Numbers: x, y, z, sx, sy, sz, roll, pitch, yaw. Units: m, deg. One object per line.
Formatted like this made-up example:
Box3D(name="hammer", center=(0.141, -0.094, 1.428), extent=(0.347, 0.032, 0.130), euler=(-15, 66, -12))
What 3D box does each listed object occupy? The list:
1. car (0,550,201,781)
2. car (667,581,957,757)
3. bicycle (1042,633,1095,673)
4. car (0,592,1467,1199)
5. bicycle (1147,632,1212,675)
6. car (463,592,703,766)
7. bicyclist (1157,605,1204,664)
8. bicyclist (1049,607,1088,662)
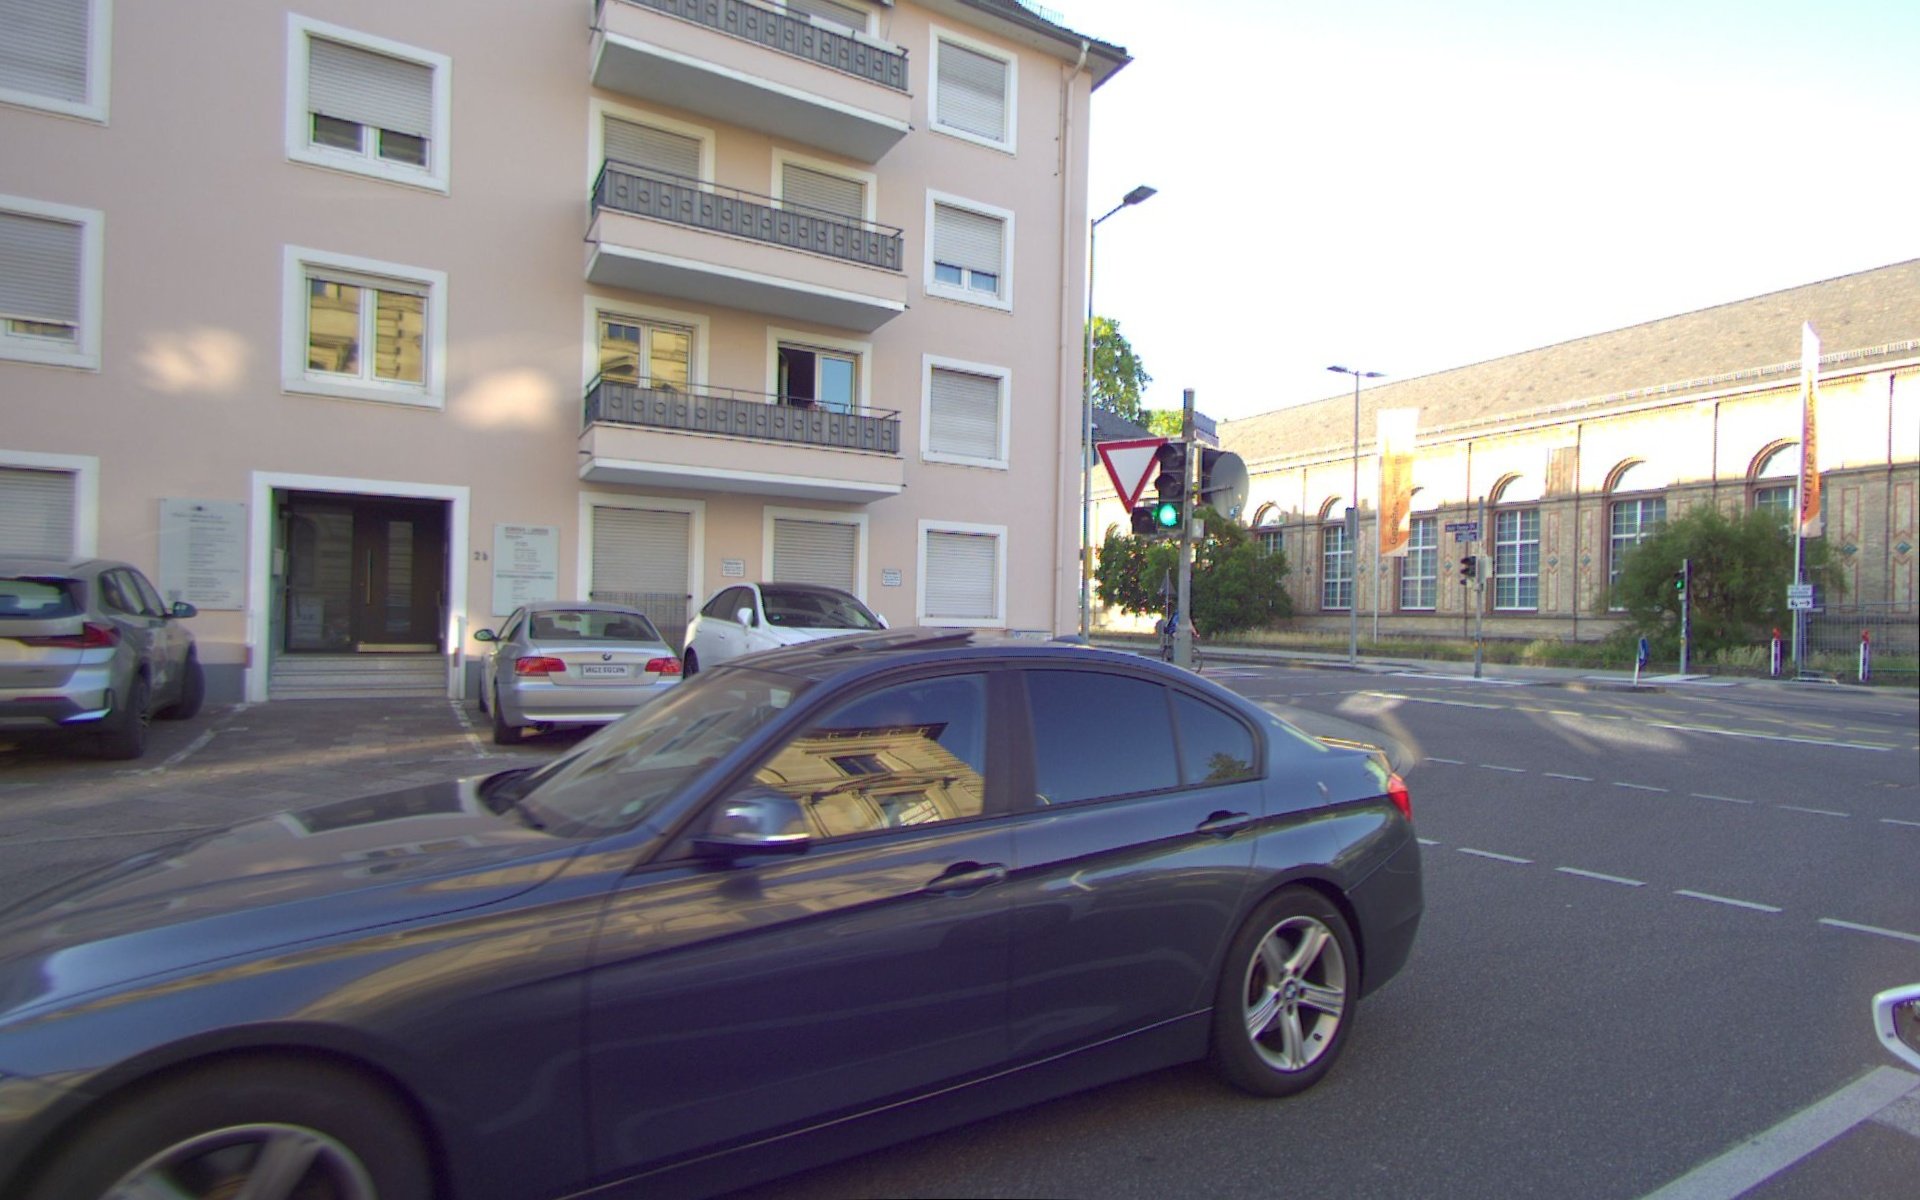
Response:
Box3D(name="car", center=(-8.144, 0.391, 8.783), extent=(1.894, 1.626, 4.395), euler=(1, 1, -31))
Box3D(name="car", center=(-1.999, 0.657, 12.163), extent=(1.920, 1.663, 4.417), euler=(1, 1, -31))
Box3D(name="bicycle", center=(2.955, 1.428, 27.453), extent=(0.713, 1.024, 1.680), euler=(1, -1, -22))
Box3D(name="car", center=(-0.504, 0.797, 3.247), extent=(4.372, 1.478, 1.773), euler=(2, -2, -31))
Box3D(name="bicycle", center=(5.941, 1.424, 27.290), extent=(0.713, 1.082, 1.990), euler=(1, -1, -22))
Box3D(name="car", center=(-4.264, 0.686, 10.923), extent=(1.716, 1.399, 4.244), euler=(1, 1, -31))
Box3D(name="bicyclist", center=(5.975, 0.934, 27.264), extent=(0.703, 1.565, 1.119), euler=(1, -1, -23))
Box3D(name="bicyclist", center=(2.960, 0.940, 27.473), extent=(0.703, 1.459, 0.889), euler=(1, -1, -23))
